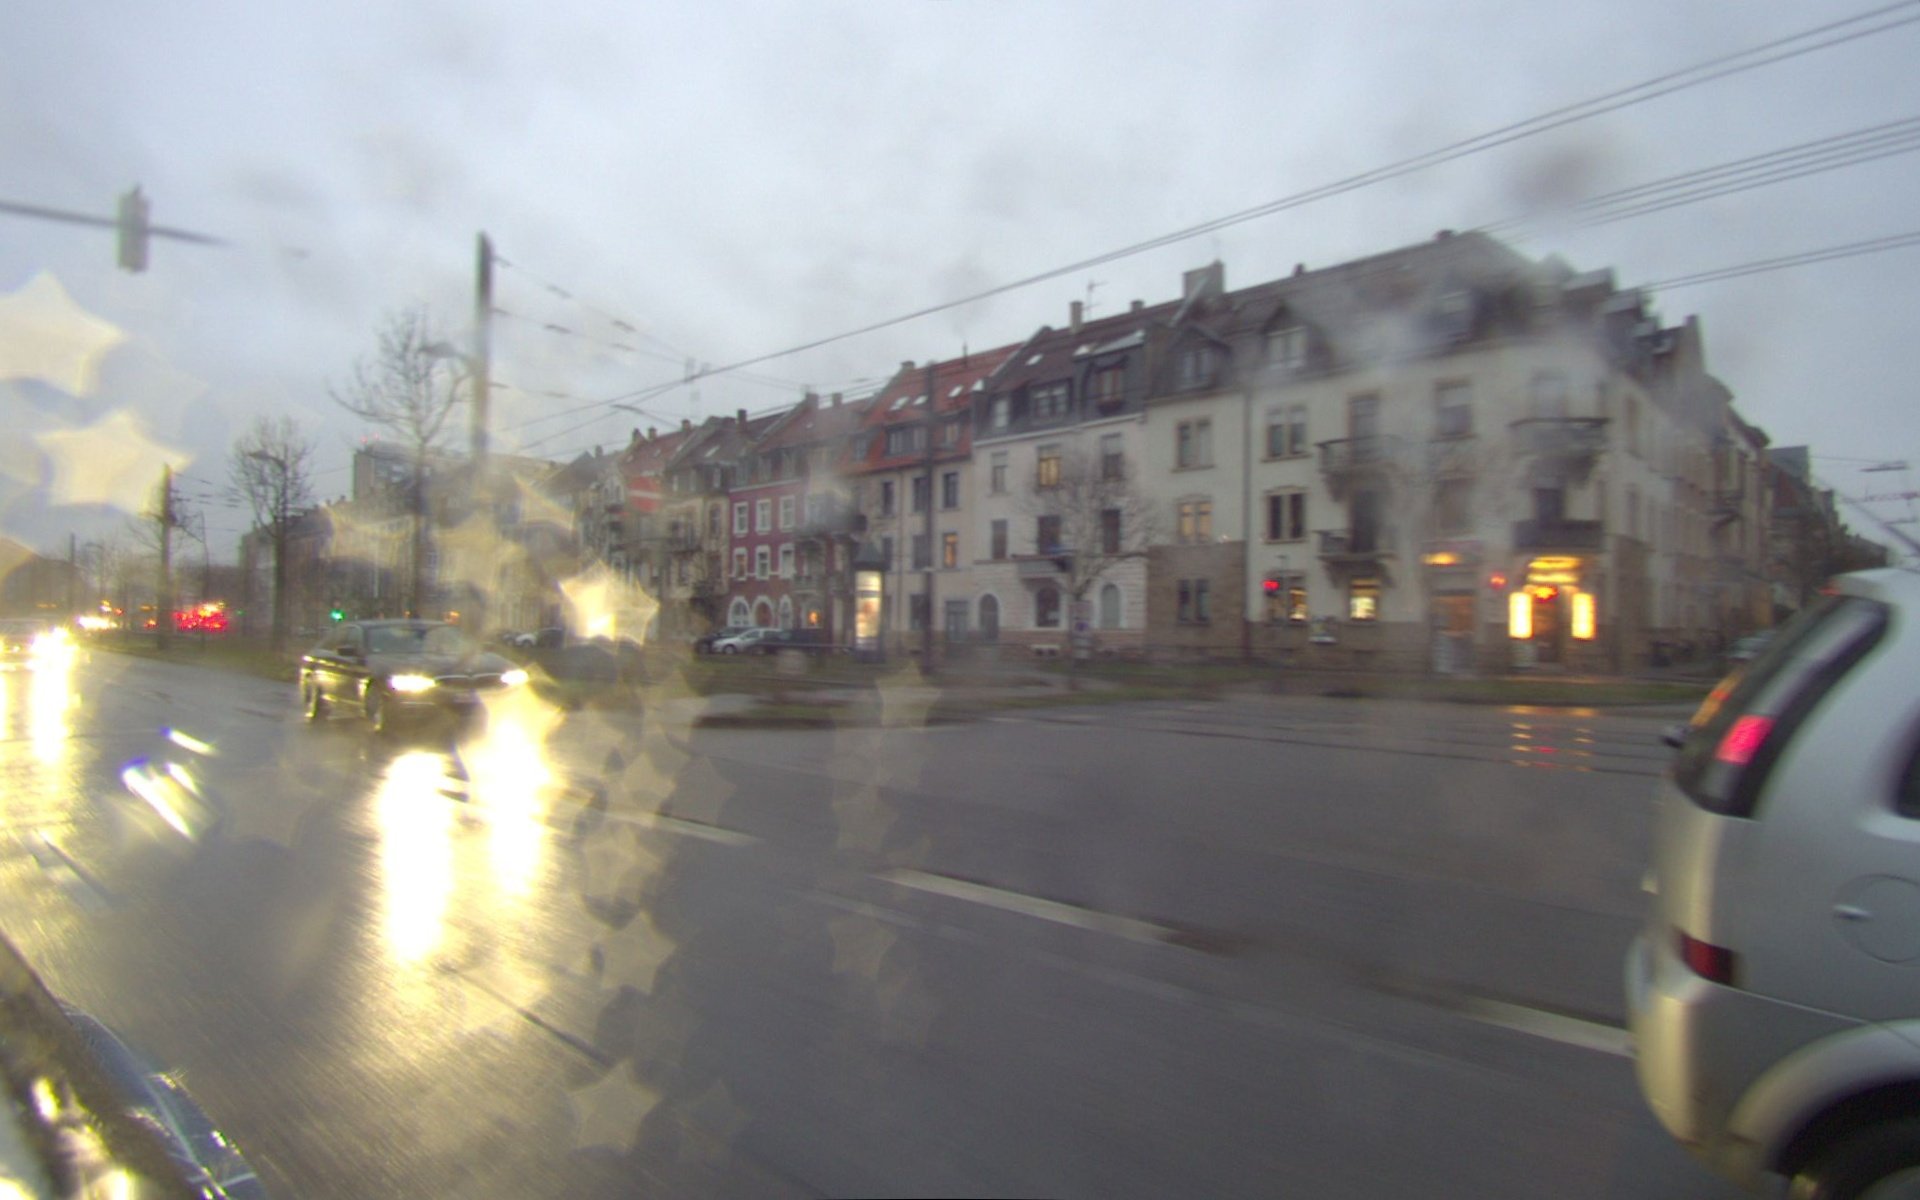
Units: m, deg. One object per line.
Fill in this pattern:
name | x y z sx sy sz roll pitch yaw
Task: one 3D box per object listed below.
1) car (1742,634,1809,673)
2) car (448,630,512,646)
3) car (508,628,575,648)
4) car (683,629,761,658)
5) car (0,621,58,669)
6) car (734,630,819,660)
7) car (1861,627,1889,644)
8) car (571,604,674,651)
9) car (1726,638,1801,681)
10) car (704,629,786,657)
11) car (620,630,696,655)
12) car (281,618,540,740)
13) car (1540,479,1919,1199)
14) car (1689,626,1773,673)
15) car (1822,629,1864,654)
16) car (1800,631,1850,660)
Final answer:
car | 33.306 2.138 41.298 1.795 1.497 3.942 -1 -3 44
car | -36.018 2.849 76.000 3.937 1.178 2.003 1 -2 -7
car | -29.120 2.652 70.544 3.935 1.342 2.004 1 -2 -10
car | -12.700 2.318 54.230 3.935 1.497 2.004 1 -2 -11
car | -31.539 1.458 33.874 1.788 1.508 4.056 1 -1 -45
car | -8.800 2.165 48.751 3.937 1.342 2.003 1 -2 -7
car | 83.687 3.225 92.527 1.795 1.497 3.942 -1 -3 44
car | -21.001 1.727 63.149 5.780 2.819 2.001 1 -2 -3
car | 29.870 2.176 37.579 1.795 1.497 3.942 -1 -3 44
car | -10.898 2.193 51.647 3.937 1.342 2.003 1 -2 -7
car | -17.462 2.462 58.725 3.937 1.342 2.003 1 -2 -7
car | -7.916 0.984 14.346 4.826 1.441 1.789 -1 -1 43
car | 3.307 0.591 1.464 4.049 1.612 1.791 -1 -1 39
car | 26.086 1.651 34.190 1.795 1.497 3.942 -1 -3 44
car | 55.868 2.599 64.029 1.795 1.497 3.942 -1 -3 44
car | 46.704 2.438 54.604 1.795 1.497 3.942 -1 -3 44
